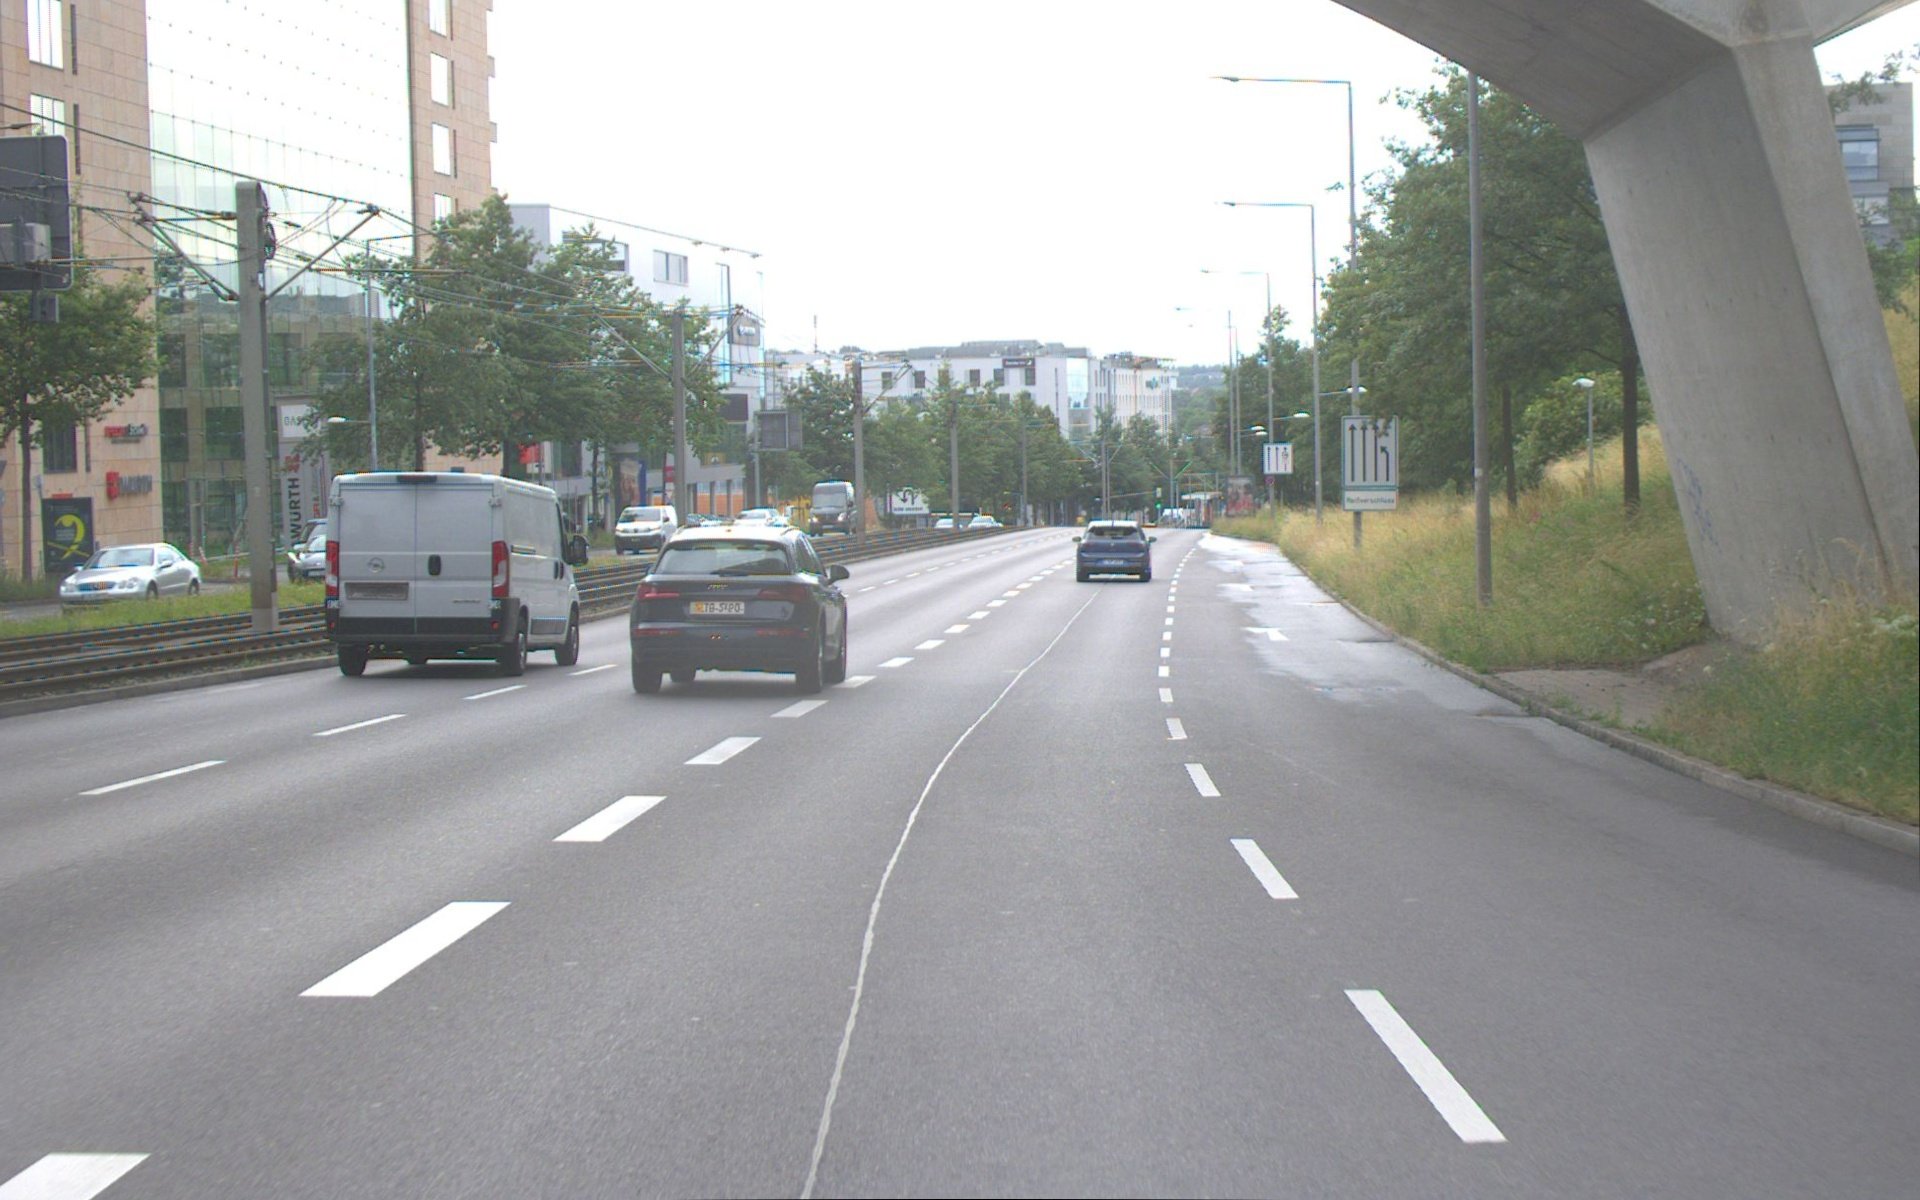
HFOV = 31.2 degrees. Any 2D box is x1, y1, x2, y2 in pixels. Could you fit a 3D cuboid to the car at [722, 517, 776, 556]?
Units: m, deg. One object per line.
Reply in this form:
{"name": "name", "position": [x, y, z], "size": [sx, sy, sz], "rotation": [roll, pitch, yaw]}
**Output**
{"name": "car", "position": [-10.177, -3.080, 166.099], "size": [1.938, 1.755, 4.809], "rotation": [1, 2, 5]}

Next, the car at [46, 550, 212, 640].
{"name": "car", "position": [-16.279, -0.132, 67.562], "size": [1.764, 1.592, 4.791], "rotation": [1, 2, 5]}

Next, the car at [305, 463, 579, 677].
{"name": "car", "position": [-5.826, -0.401, 39.257], "size": [2.268, 2.277, 4.760], "rotation": [1, 2, 2]}

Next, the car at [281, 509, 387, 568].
{"name": "car", "position": [-17.124, -1.700, 94.181], "size": [1.810, 1.528, 4.274], "rotation": [1, 2, 5]}

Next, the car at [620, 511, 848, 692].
{"name": "car", "position": [-2.220, 0.002, 34.781], "size": [1.922, 1.705, 4.098], "rotation": [1, 0, 1]}

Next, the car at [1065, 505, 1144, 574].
{"name": "car", "position": [3.476, -1.461, 83.232], "size": [1.789, 1.585, 4.000], "rotation": [-1, 1, 1]}

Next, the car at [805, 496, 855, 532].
{"name": "car", "position": [-6.393, -4.253, 169.564], "size": [1.938, 1.755, 4.809], "rotation": [1, 2, 5]}

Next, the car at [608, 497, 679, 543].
{"name": "car", "position": [-12.549, -3.203, 136.446], "size": [1.938, 1.755, 5.062], "rotation": [1, 2, 5]}
